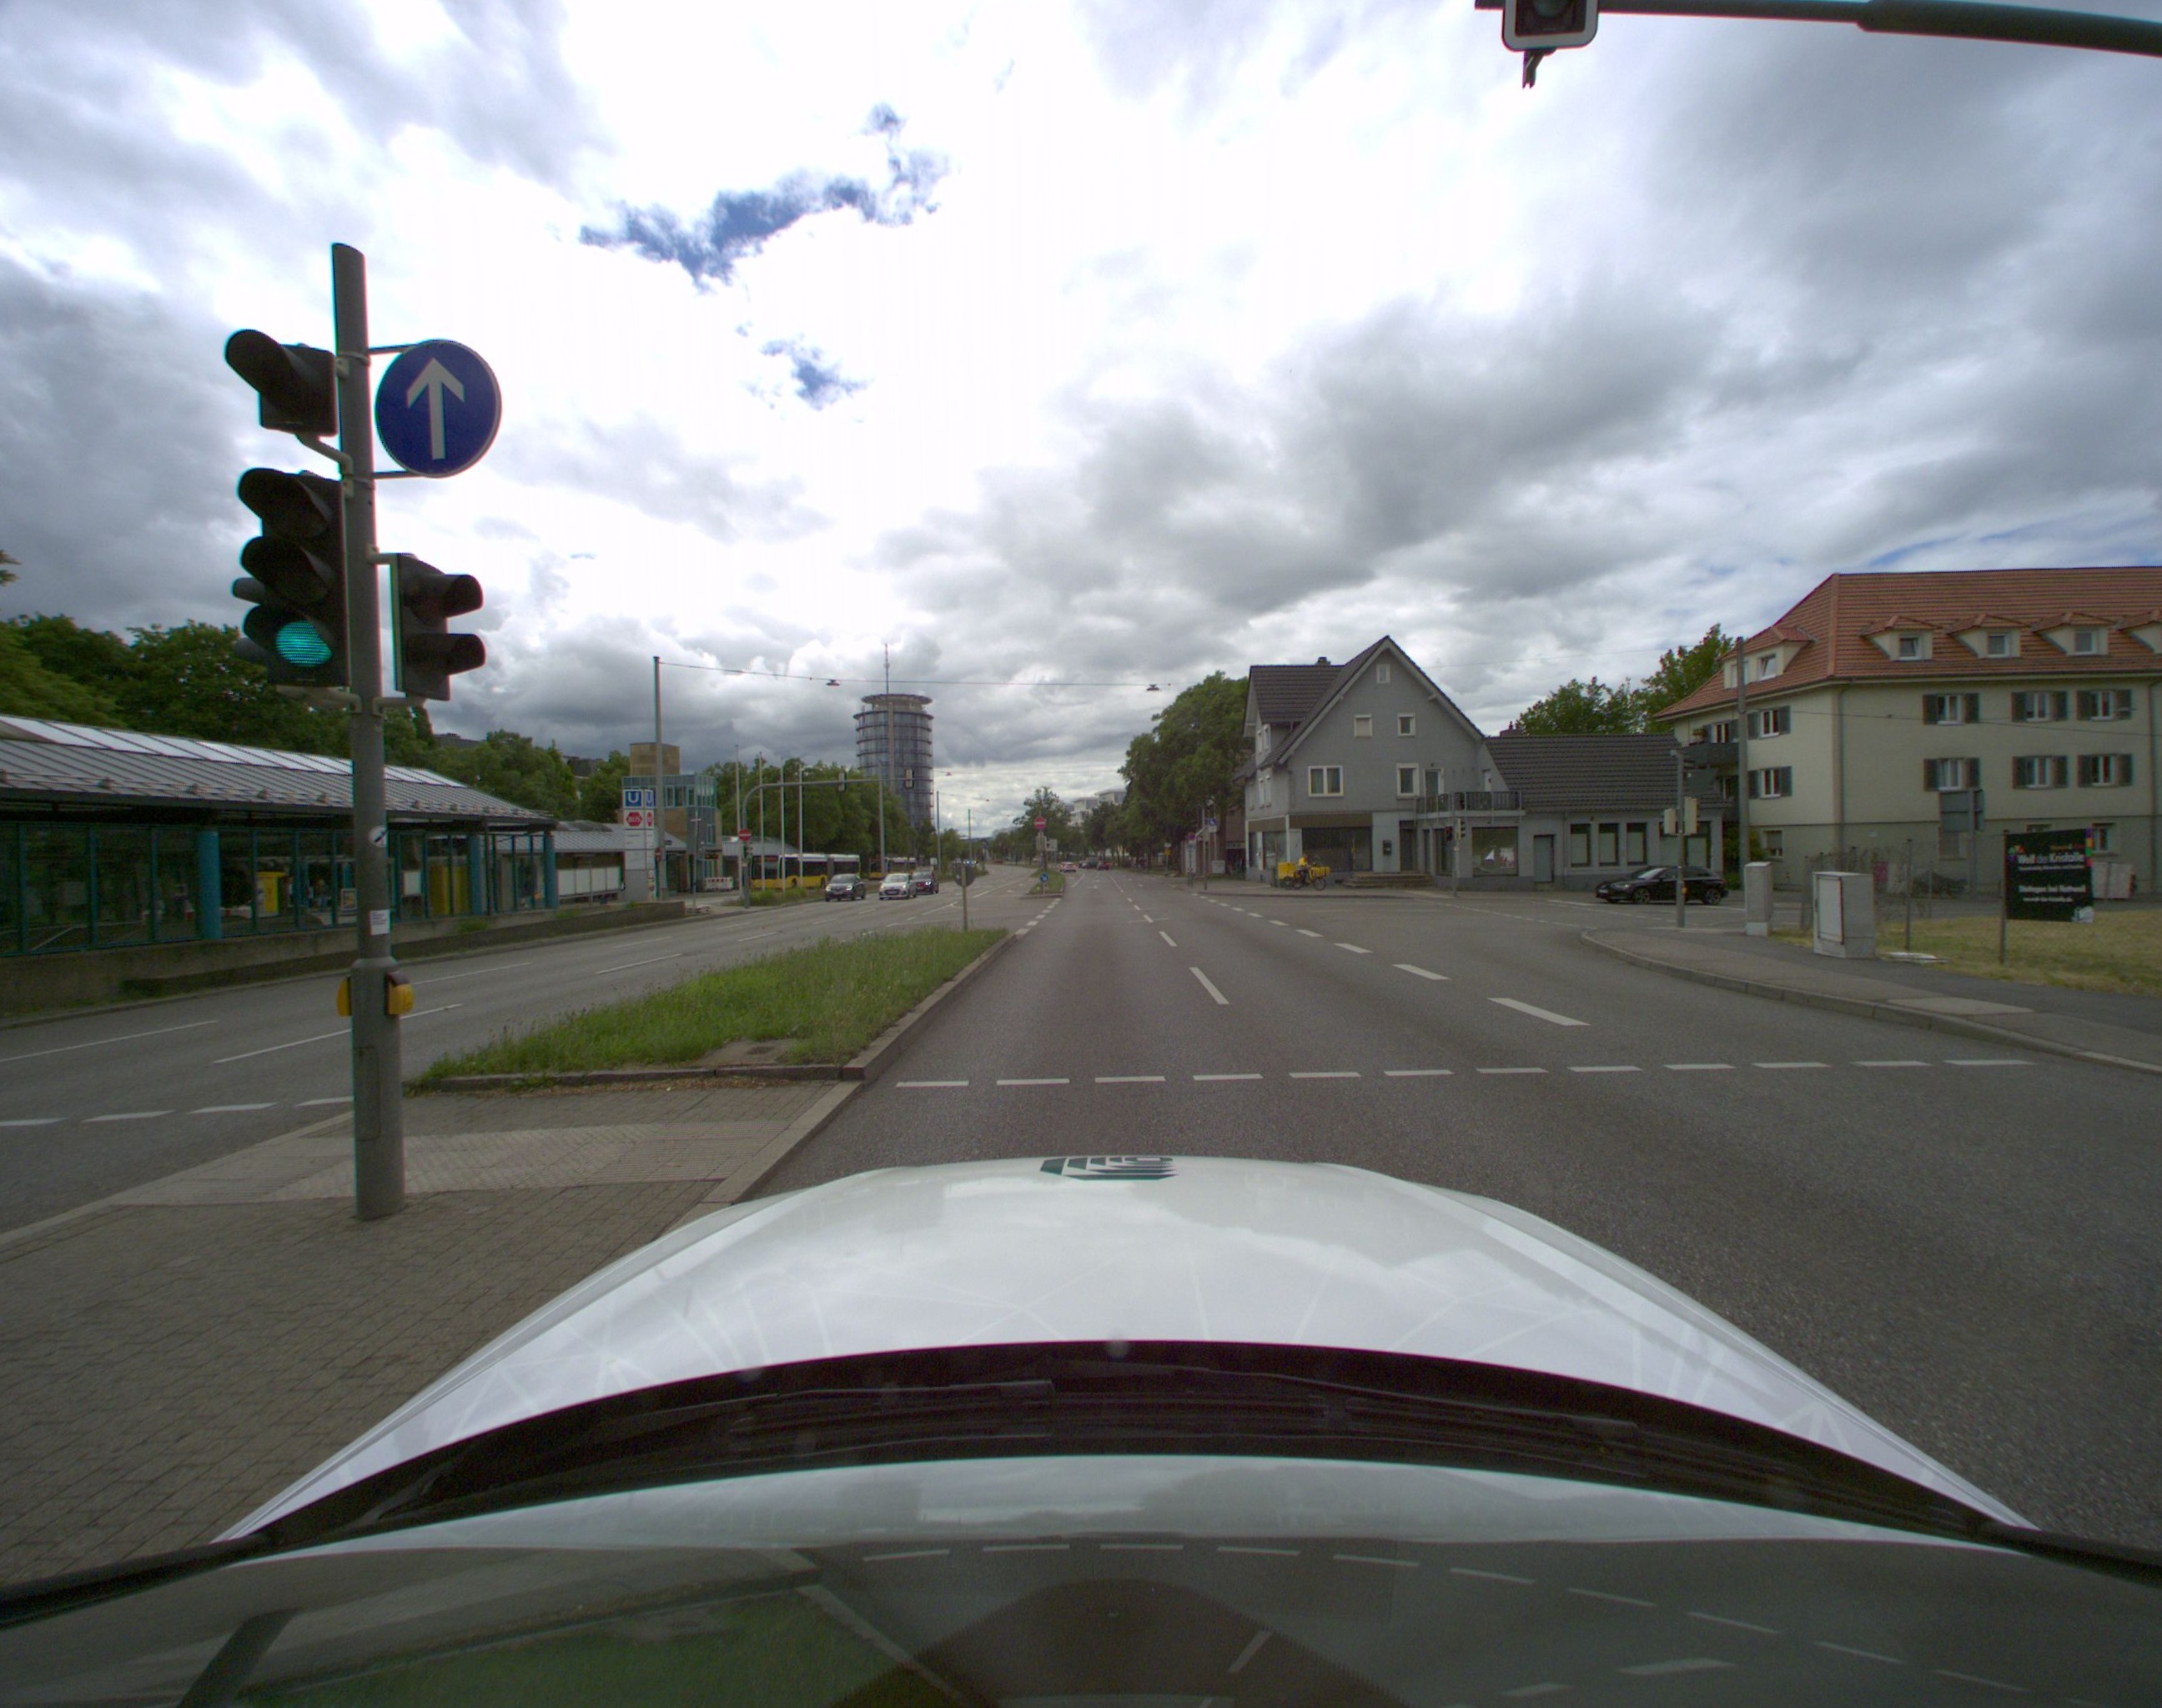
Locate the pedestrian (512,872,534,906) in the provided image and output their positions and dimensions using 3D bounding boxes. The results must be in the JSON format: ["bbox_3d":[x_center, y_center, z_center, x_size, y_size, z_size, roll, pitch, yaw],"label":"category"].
[{"bbox_3d":[-27.811,1.723,40.575,0.617,1.649,0.658,-2,-1,2],"label":"pedestrian"}]

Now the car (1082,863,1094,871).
[{"bbox_3d":[1.371,2.493,160.692,1.991,1.508,3.991,-2,0,-7],"label":"car"}]

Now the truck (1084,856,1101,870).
[{"bbox_3d":[2.124,1.736,153.328,2.853,2.519,6.279,-2,-1,-3],"label":"truck"}]

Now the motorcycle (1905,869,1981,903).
[{"bbox_3d":[34.809,1.295,32.898,2.296,1.316,0.686,0,1,1],"label":"motorcycle"}]

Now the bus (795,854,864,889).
[{"bbox_3d":[-23.727,1.621,77.419,2.795,3.132,9.314,0,0,6],"label":"bus"}]

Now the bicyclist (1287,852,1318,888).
[{"bbox_3d":[10.122,0.752,37.234,0.964,1.599,0.930,-1,-1,-24],"label":"bicyclist"}]

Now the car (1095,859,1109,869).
[{"bbox_3d":[3.465,1.707,135.021,1.989,1.596,3.996,-2,-1,-2],"label":"car"}]

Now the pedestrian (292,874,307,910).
[{"bbox_3d":[-34.615,1.686,36.066,0.488,1.548,0.379,0,-1,-45],"label":"pedestrian"}]

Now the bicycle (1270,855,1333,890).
[{"bbox_3d":[10.071,0.859,37.248,0.968,1.508,2.653,-1,-2,-41],"label":"bicycle"}]

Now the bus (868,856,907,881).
[{"bbox_3d":[-26.278,1.937,111.011,3.075,3.163,10.728,0,-1,-2],"label":"bus"}]

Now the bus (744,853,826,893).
[{"bbox_3d":[-24.533,1.512,68.080,2.763,3.132,9.448,0,0,4],"label":"bus"}]

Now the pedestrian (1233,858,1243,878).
[{"bbox_3d":[12.537,1.110,65.112,0.559,1.550,0.544,-3,-1,1],"label":"pedestrian"}]

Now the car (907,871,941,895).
[{"bbox_3d":[-10.395,1.902,54.127,1.654,1.508,3.765,-2,-1,-3],"label":"car"}]

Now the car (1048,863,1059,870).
[{"bbox_3d":[-5.687,2.625,169.151,1.986,1.508,4.001,-2,-1,2],"label":"car"}]

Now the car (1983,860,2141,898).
[{"bbox_3d":[39.764,1.008,33.093,4.064,1.464,2.000,0,0,0],"label":"car"}]

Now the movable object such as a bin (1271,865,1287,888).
[{"bbox_3d":[9.637,1.102,39.631,0.624,1.104,0.709,-1,-1,0],"label":"movable object such as a bin"}]

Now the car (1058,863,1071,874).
[{"bbox_3d":[-2.868,2.455,138.923,1.989,1.672,3.995,-2,-1,-3],"label":"car"}]

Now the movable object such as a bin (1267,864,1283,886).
[{"bbox_3d":[9.614,1.036,40.475,0.606,1.104,0.709,-1,-1,0],"label":"movable object such as a bin"}]

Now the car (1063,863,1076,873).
[{"bbox_3d":[-1.878,2.223,128.809,1.859,1.449,3.995,-2,-1,-3],"label":"car"}]

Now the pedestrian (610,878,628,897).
[{"bbox_3d":[-27.676,1.999,48.783,0.617,1.121,0.658,-2,-1,2],"label":"pedestrian"}]

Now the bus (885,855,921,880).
[{"bbox_3d":[-26.432,1.999,121.279,3.020,3.456,9.911,0,-1,1],"label":"bus"}]

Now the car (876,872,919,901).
[{"bbox_3d":[-10.528,1.852,46.989,1.741,1.465,3.787,-1,0,-2],"label":"car"}]

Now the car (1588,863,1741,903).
[{"bbox_3d":[21.515,1.070,30.139,4.329,1.422,1.907,0,-1,-1],"label":"car"}]

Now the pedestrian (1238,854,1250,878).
[{"bbox_3d":[12.666,0.904,63.294,0.655,1.826,0.843,-3,-1,1],"label":"pedestrian"}]

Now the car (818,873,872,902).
[{"bbox_3d":[-13.710,1.915,47.501,1.808,1.508,4.001,-2,-1,2],"label":"car"}]
